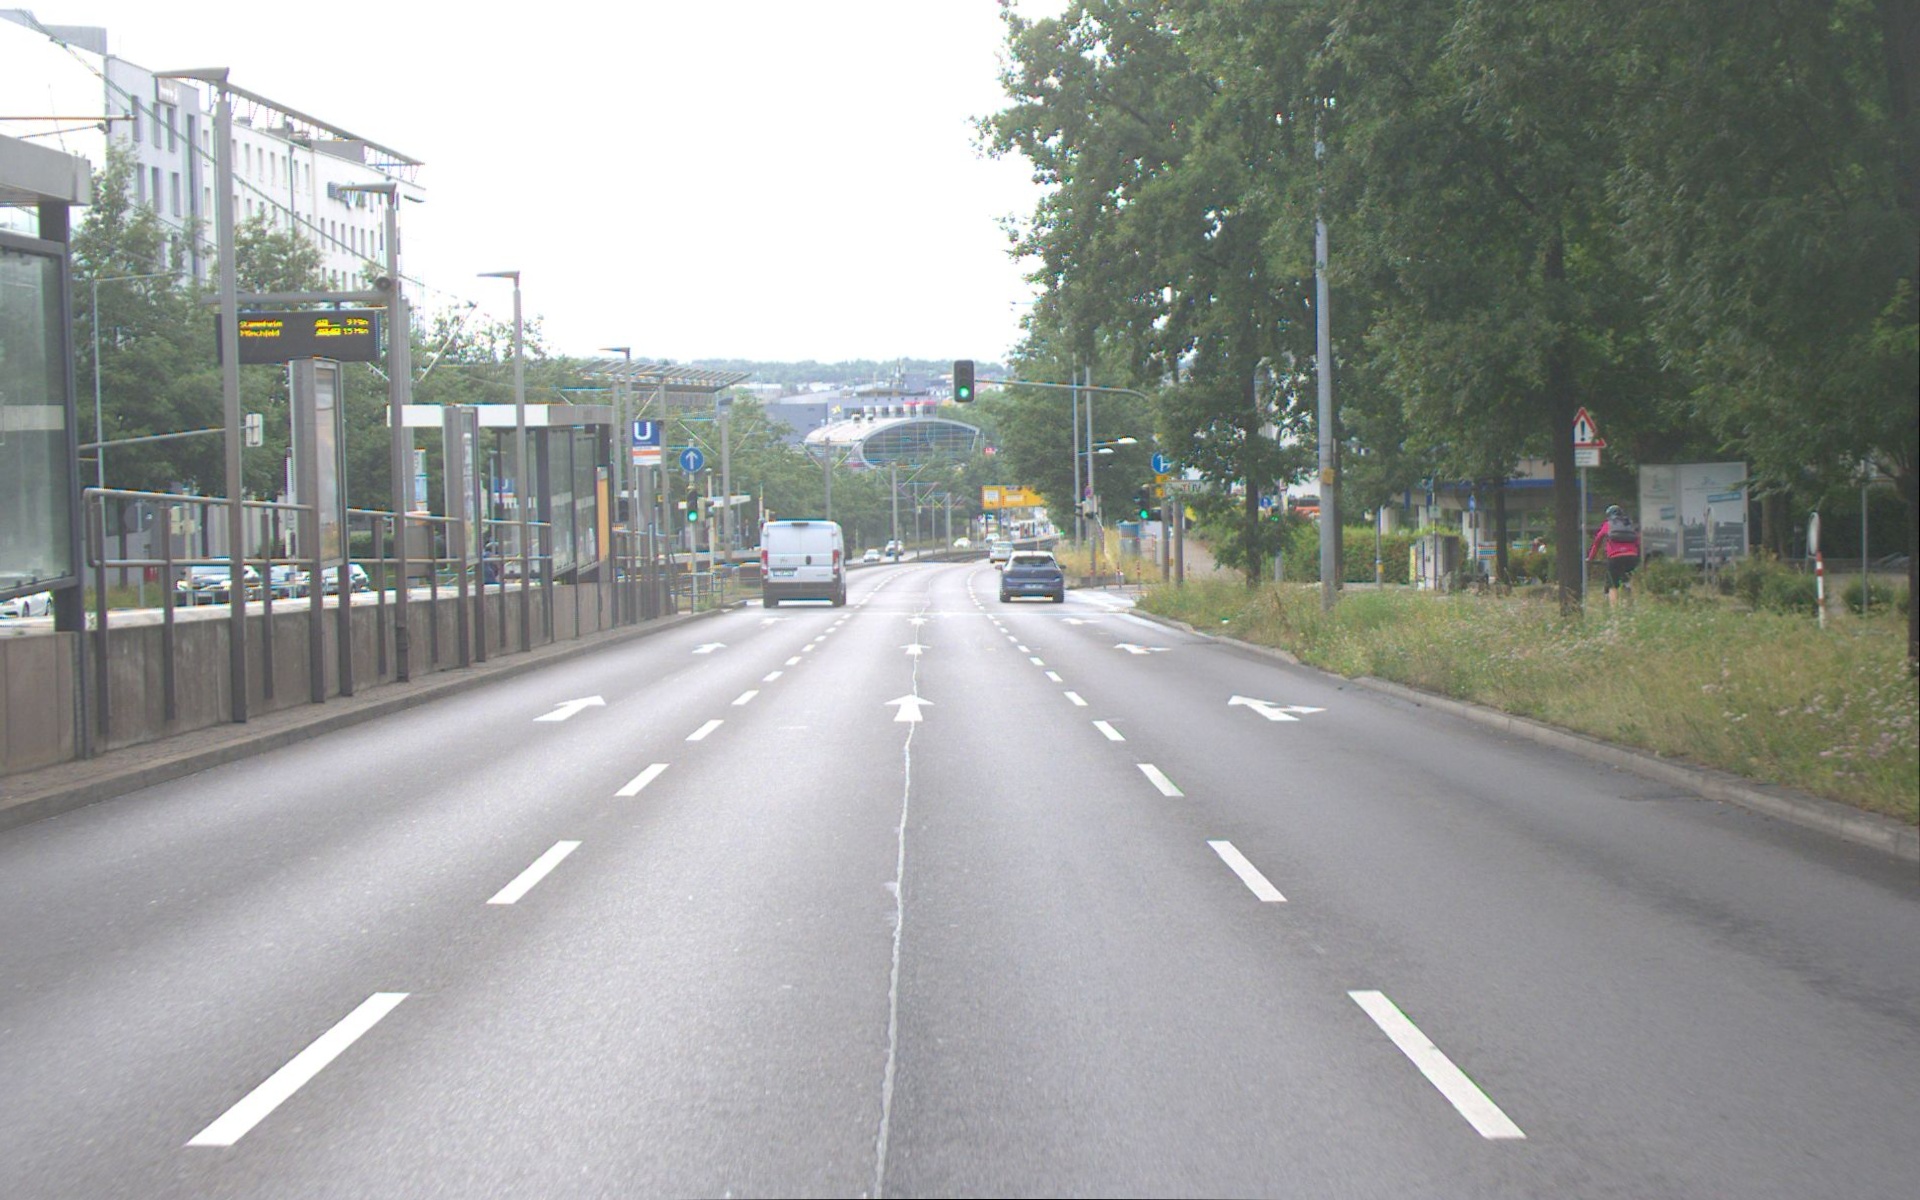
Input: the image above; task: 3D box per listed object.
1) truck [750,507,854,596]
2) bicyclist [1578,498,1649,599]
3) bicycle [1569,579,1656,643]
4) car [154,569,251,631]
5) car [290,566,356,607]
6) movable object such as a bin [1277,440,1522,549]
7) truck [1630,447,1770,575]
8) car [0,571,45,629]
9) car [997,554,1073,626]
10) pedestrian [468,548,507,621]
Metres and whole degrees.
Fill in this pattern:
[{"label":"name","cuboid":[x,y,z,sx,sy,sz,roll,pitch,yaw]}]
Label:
[{"label":"truck","cuboid":[-4.113,-1.268,90.398,2.360,2.254,5.305,1,1,1]},{"label":"bicyclist","cuboid":[8.543,-0.671,45.004,0.655,1.284,1.219,1,1,0]},{"label":"bicycle","cuboid":[8.527,0.135,45.019,0.667,0.806,2.318,1,1,0]},{"label":"car","cuboid":[-22.935,-0.007,104.224,1.993,1.768,4.389,-1,1,0]},{"label":"car","cuboid":[-23.159,-0.498,125.141,1.728,1.418,3.780,-1,1,-1]},{"label":"movable object such as a bin","cuboid":[22.735,-5.427,178.349,12.141,5.243,3.789,-1,0,1]},{"label":"truck","cuboid":[15.084,-1.787,70.274,1.746,2.509,4.001,1,0,-4]},{"label":"car","cuboid":[-26.306,-0.017,93.040,1.993,1.512,4.708,1,1,-2]},{"label":"car","cuboid":[2.154,-0.298,97.913,1.994,2.007,3.934,1,1,3]},{"label":"pedestrian","cuboid":[-10.813,-0.357,78.647,0.700,1.645,0.649,-1,1,-29]}]
